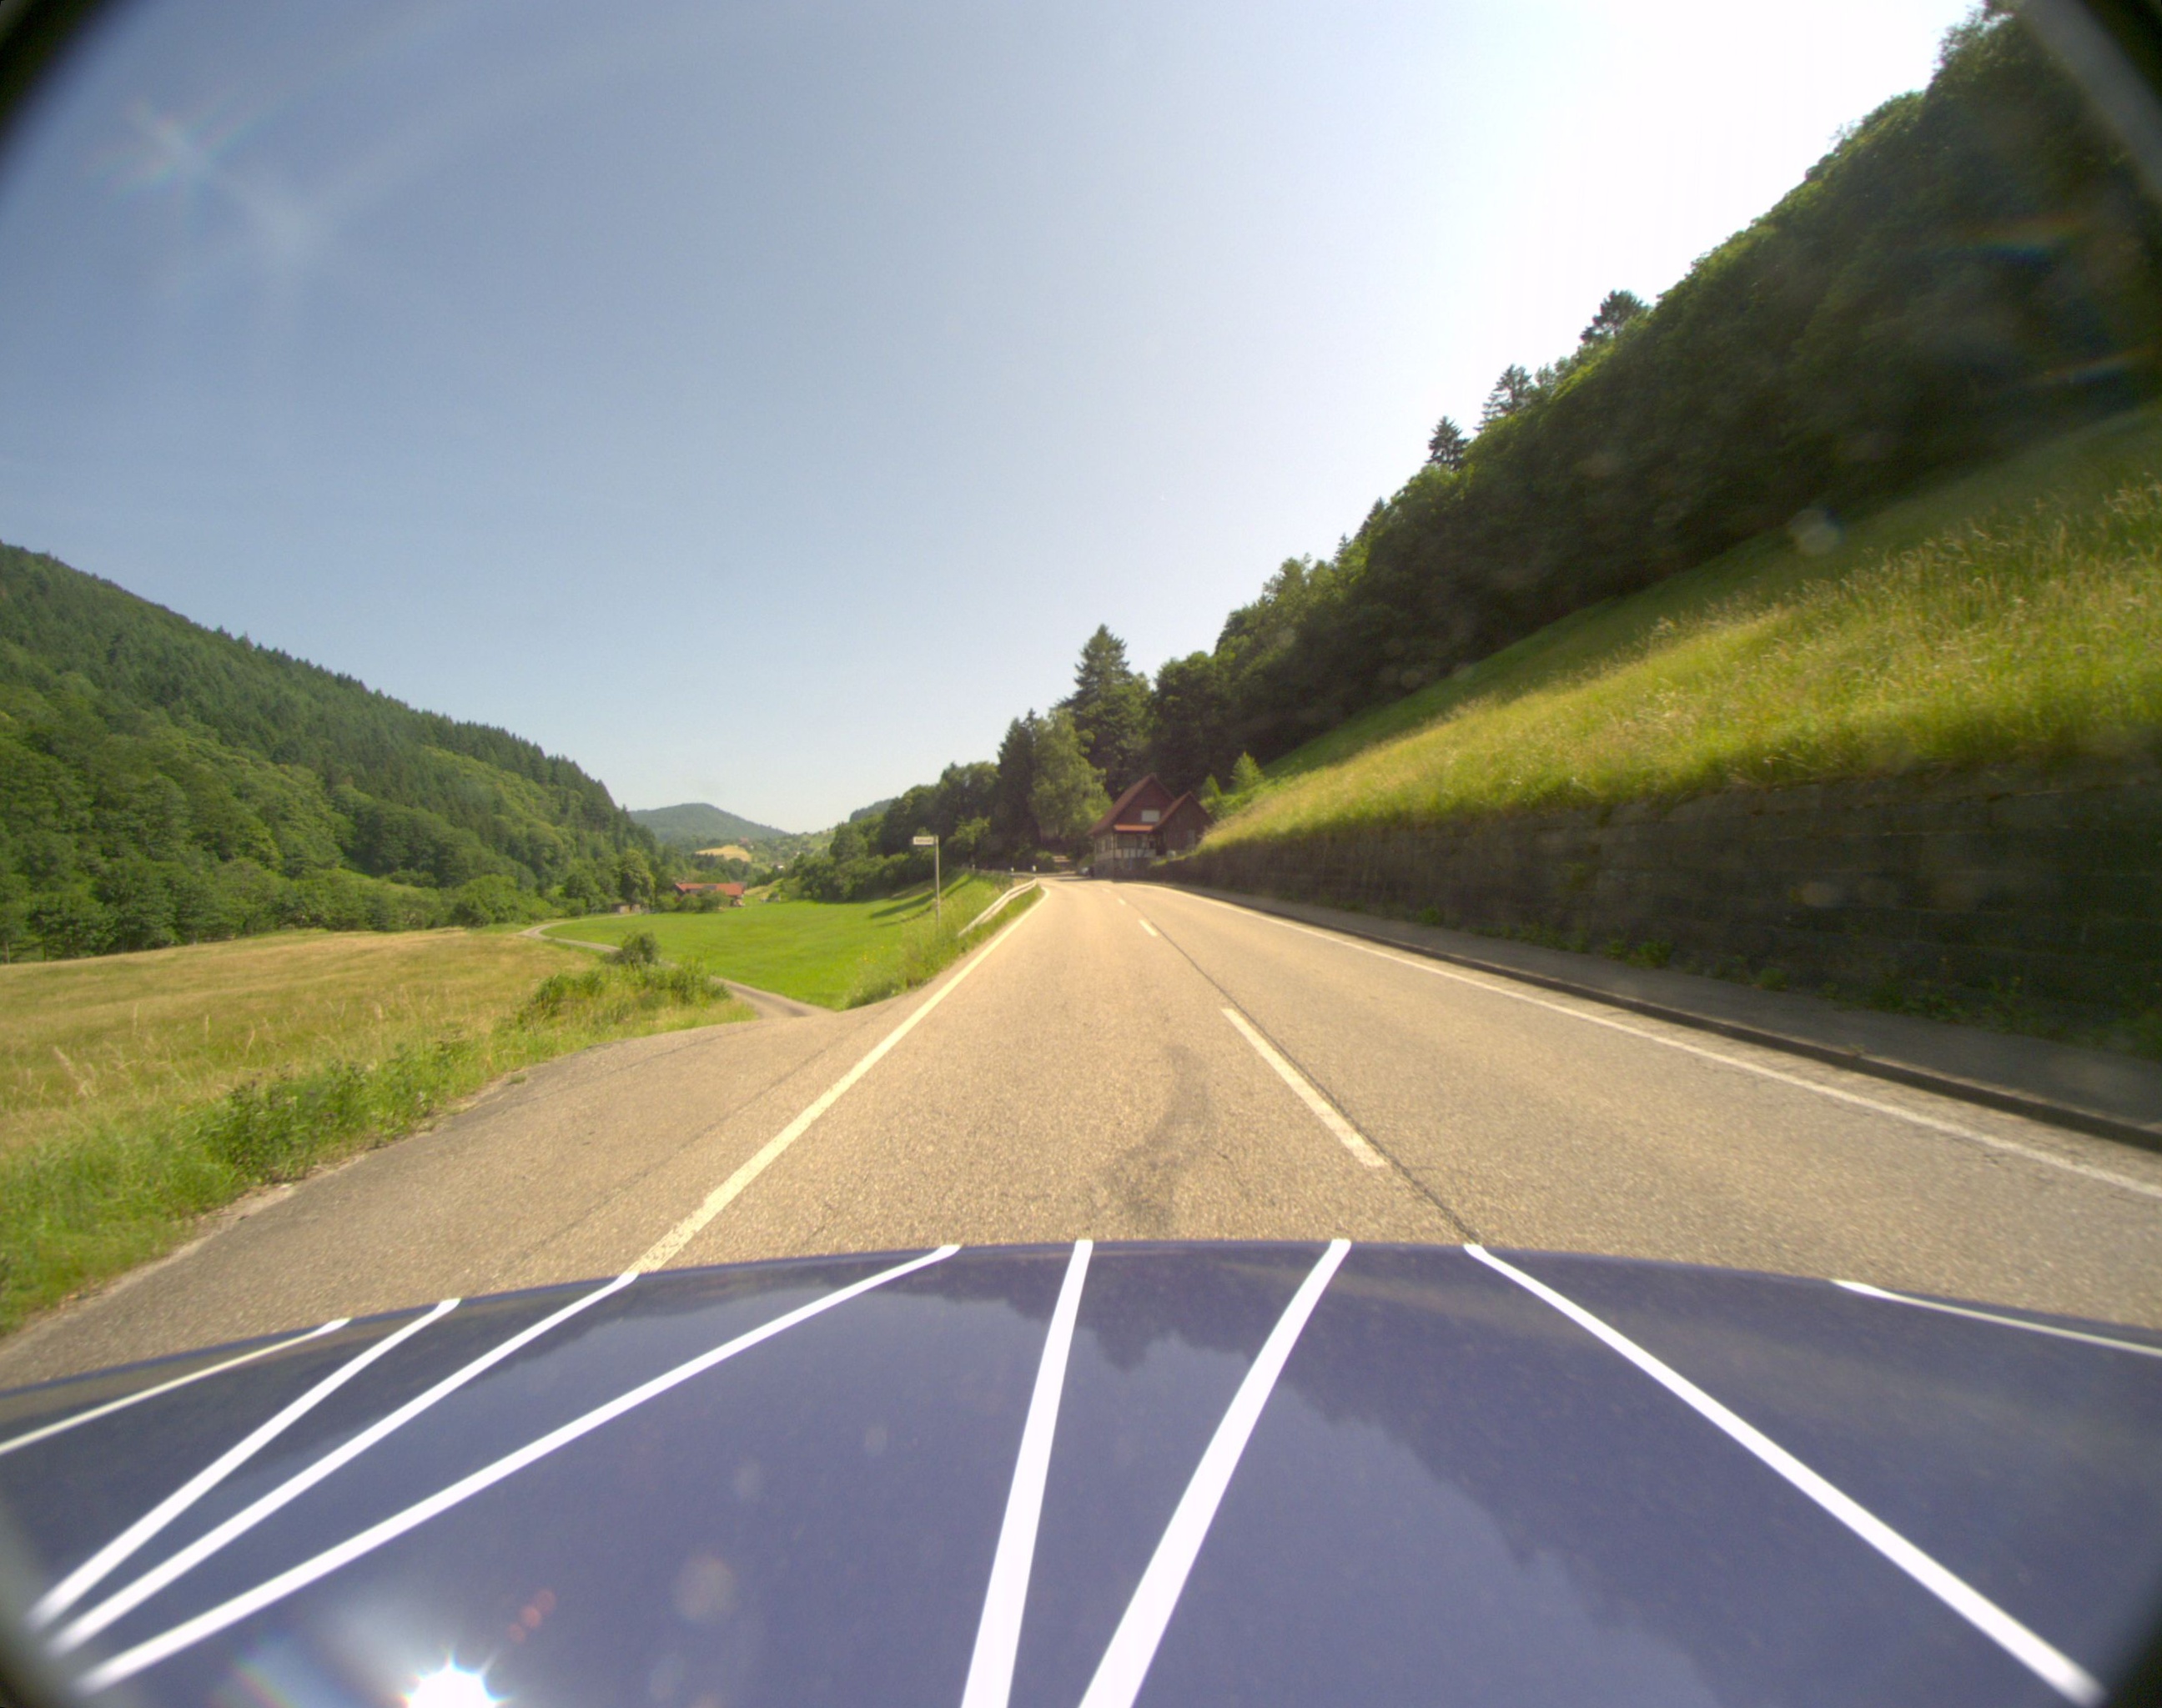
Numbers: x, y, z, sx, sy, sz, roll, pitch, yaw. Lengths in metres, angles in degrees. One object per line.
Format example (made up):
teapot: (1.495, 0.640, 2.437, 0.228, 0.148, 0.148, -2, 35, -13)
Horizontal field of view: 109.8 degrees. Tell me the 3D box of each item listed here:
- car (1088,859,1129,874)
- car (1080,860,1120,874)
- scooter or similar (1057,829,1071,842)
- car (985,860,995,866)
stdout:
car: (2.758, 1.263, 77.601, 3.830, 1.424, 1.861, 0, 1, -14)
car: (1.988, 1.361, 80.121, 3.830, 1.408, 1.855, -2, -1, -14)
scooter or similar: (-3.058, -3.288, 134.034, 1.984, 2.015, 4.402, -5, 1, -7)
car: (-22.658, 2.122, 188.409, 1.771, 1.388, 4.138, -2, 1, -17)
